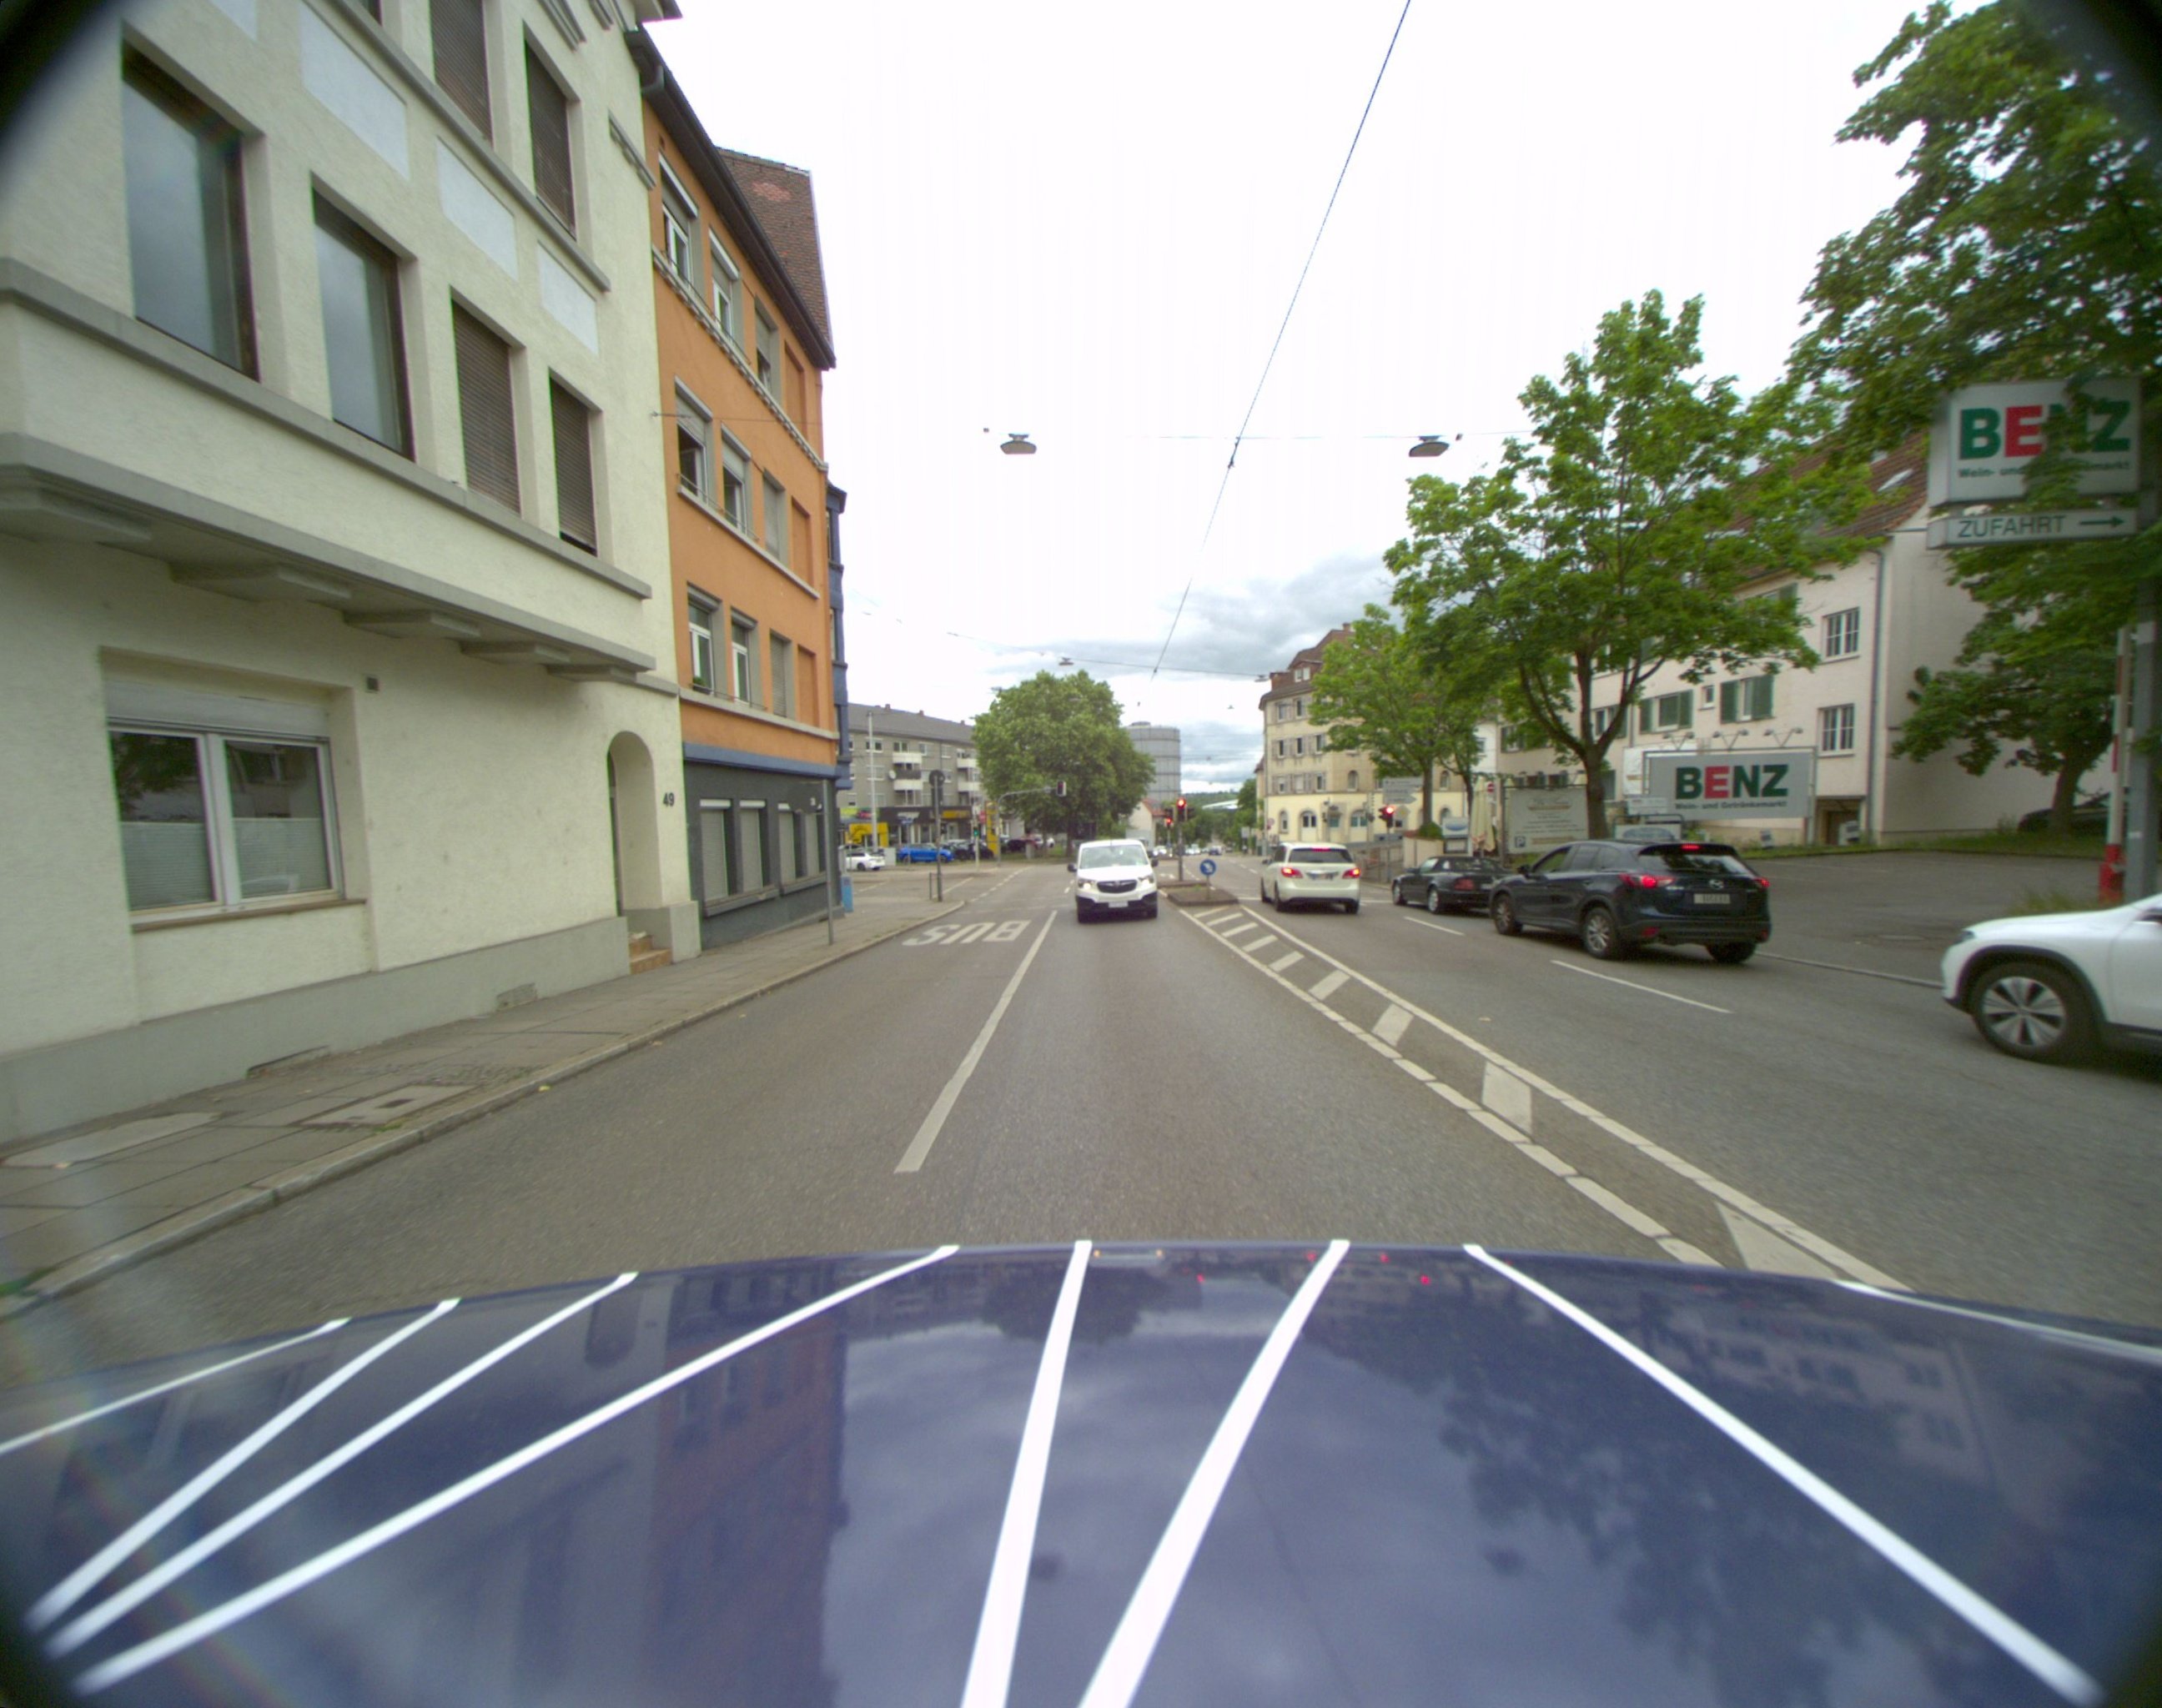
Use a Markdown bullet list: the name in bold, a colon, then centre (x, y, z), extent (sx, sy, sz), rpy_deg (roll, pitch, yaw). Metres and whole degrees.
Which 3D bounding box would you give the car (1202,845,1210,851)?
- **car**: centre (34.027, -1.676, 206.926), extent (1.997, 1.590, 4.003), rpy_deg (-3, 1, 13)

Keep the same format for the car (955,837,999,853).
- **car**: centre (-10.435, -0.868, 76.546), extent (3.994, 1.541, 1.864), rpy_deg (-1, 2, 8)

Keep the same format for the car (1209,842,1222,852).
- **car**: centre (22.502, -1.167, 126.955), extent (1.757, 1.439, 3.754), rpy_deg (-2, 1, 14)

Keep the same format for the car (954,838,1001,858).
- **car**: centre (-9.392, -0.541, 69.144), extent (1.823, 1.599, 4.178), rpy_deg (7, 4, 33)

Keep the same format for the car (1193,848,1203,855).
- **car**: centre (27.950, -0.534, 181.863), extent (1.997, 1.590, 4.003), rpy_deg (-3, 1, 13)

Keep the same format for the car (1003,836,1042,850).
- **car**: centre (-6.686, -1.301, 87.069), extent (4.007, 1.496, 1.858), rpy_deg (-2, 2, -36)

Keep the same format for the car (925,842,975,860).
- **car**: centre (-10.926, -0.243, 63.597), extent (1.824, 1.468, 4.008), rpy_deg (1, 1, 34)

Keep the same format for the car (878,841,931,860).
- **car**: centre (-15.210, -0.318, 65.657), extent (3.993, 1.541, 1.864), rpy_deg (0, 2, 12)

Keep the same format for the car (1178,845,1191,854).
- **car**: centre (19.824, -0.800, 145.762), extent (1.997, 1.590, 4.003), rpy_deg (-3, 1, 13)

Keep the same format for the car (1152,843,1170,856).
- **car**: centre (11.277, -0.688, 106.828), extent (1.996, 1.620, 4.412), rpy_deg (-2, 1, 13)

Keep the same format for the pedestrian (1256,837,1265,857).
- **pedestrian**: centre (18.055, -0.719, 76.480), extent (0.746, 1.925, 0.904), rpy_deg (-4, 1, 11)

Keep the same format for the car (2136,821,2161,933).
- **car**: centre (15.265, 0.278, 8.366), extent (1.711, 1.493, 3.999), rpy_deg (-4, 1, 0)

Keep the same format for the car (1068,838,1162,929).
- **car**: centre (0.783, 0.582, 18.333), extent (1.888, 1.828, 4.676), rpy_deg (-3, 1, 2)

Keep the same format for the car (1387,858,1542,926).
- **car**: centre (8.710, 0.781, 17.721), extent (1.805, 1.274, 4.237), rpy_deg (1, 1, 6)

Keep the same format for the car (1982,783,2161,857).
- **car**: centre (27.003, -0.878, 19.372), extent (2.065, 1.793, 4.907), rpy_deg (-3, 1, -4)

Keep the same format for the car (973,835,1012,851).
- **car**: centre (-9.214, -1.130, 79.073), extent (3.616, 1.544, 1.617), rpy_deg (-2, 2, -27)

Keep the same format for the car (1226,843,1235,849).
- **car**: centre (39.054, -2.098, 198.515), extent (1.997, 1.590, 4.003), rpy_deg (-3, 1, 13)

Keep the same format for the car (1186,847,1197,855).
- **car**: centre (24.059, -0.752, 165.009), extent (1.997, 1.590, 4.003), rpy_deg (-3, 1, 13)

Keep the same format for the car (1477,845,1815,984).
- **car**: centre (7.972, 0.702, 11.409), extent (1.955, 1.633, 4.414), rpy_deg (1, 1, 4)

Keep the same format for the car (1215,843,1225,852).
- **car**: centre (27.746, -1.338, 151.777), extent (1.868, 1.873, 4.288), rpy_deg (1, 1, 10)

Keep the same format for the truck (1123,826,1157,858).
- **truck**: centre (7.066, -1.485, 89.960), extent (2.769, 3.482, 8.176), rpy_deg (-2, 1, 12)

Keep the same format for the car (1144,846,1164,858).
- **car**: centre (9.539, -0.277, 98.727), extent (1.916, 1.291, 4.412), rpy_deg (-2, 1, 13)

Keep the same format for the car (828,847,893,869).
- **car**: centre (-15.685, 0.260, 54.154), extent (4.131, 1.526, 1.921), rpy_deg (1, 2, 21)

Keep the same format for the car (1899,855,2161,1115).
- **car**: centre (7.636, 0.848, 3.975), extent (1.956, 1.584, 4.498), rpy_deg (1, 1, 3)

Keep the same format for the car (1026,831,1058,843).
- **car**: centre (-4.955, -2.186, 96.403), extent (3.624, 1.496, 1.787), rpy_deg (-2, 2, -41)

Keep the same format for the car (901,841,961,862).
- **car**: centre (-11.673, -0.217, 59.235), extent (4.255, 1.568, 1.829), rpy_deg (1, 1, 2)

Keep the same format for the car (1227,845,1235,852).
- **car**: centre (41.361, -1.501, 209.482), extent (1.997, 1.590, 4.003), rpy_deg (-3, 1, 13)

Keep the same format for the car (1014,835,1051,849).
- **car**: centre (-5.779, -1.454, 90.194), extent (4.007, 1.496, 1.858), rpy_deg (-2, 2, -33)

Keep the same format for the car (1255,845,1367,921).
- **car**: centre (5.350, 0.586, 18.206), extent (1.779, 1.538, 4.326), rpy_deg (1, 1, 6)
